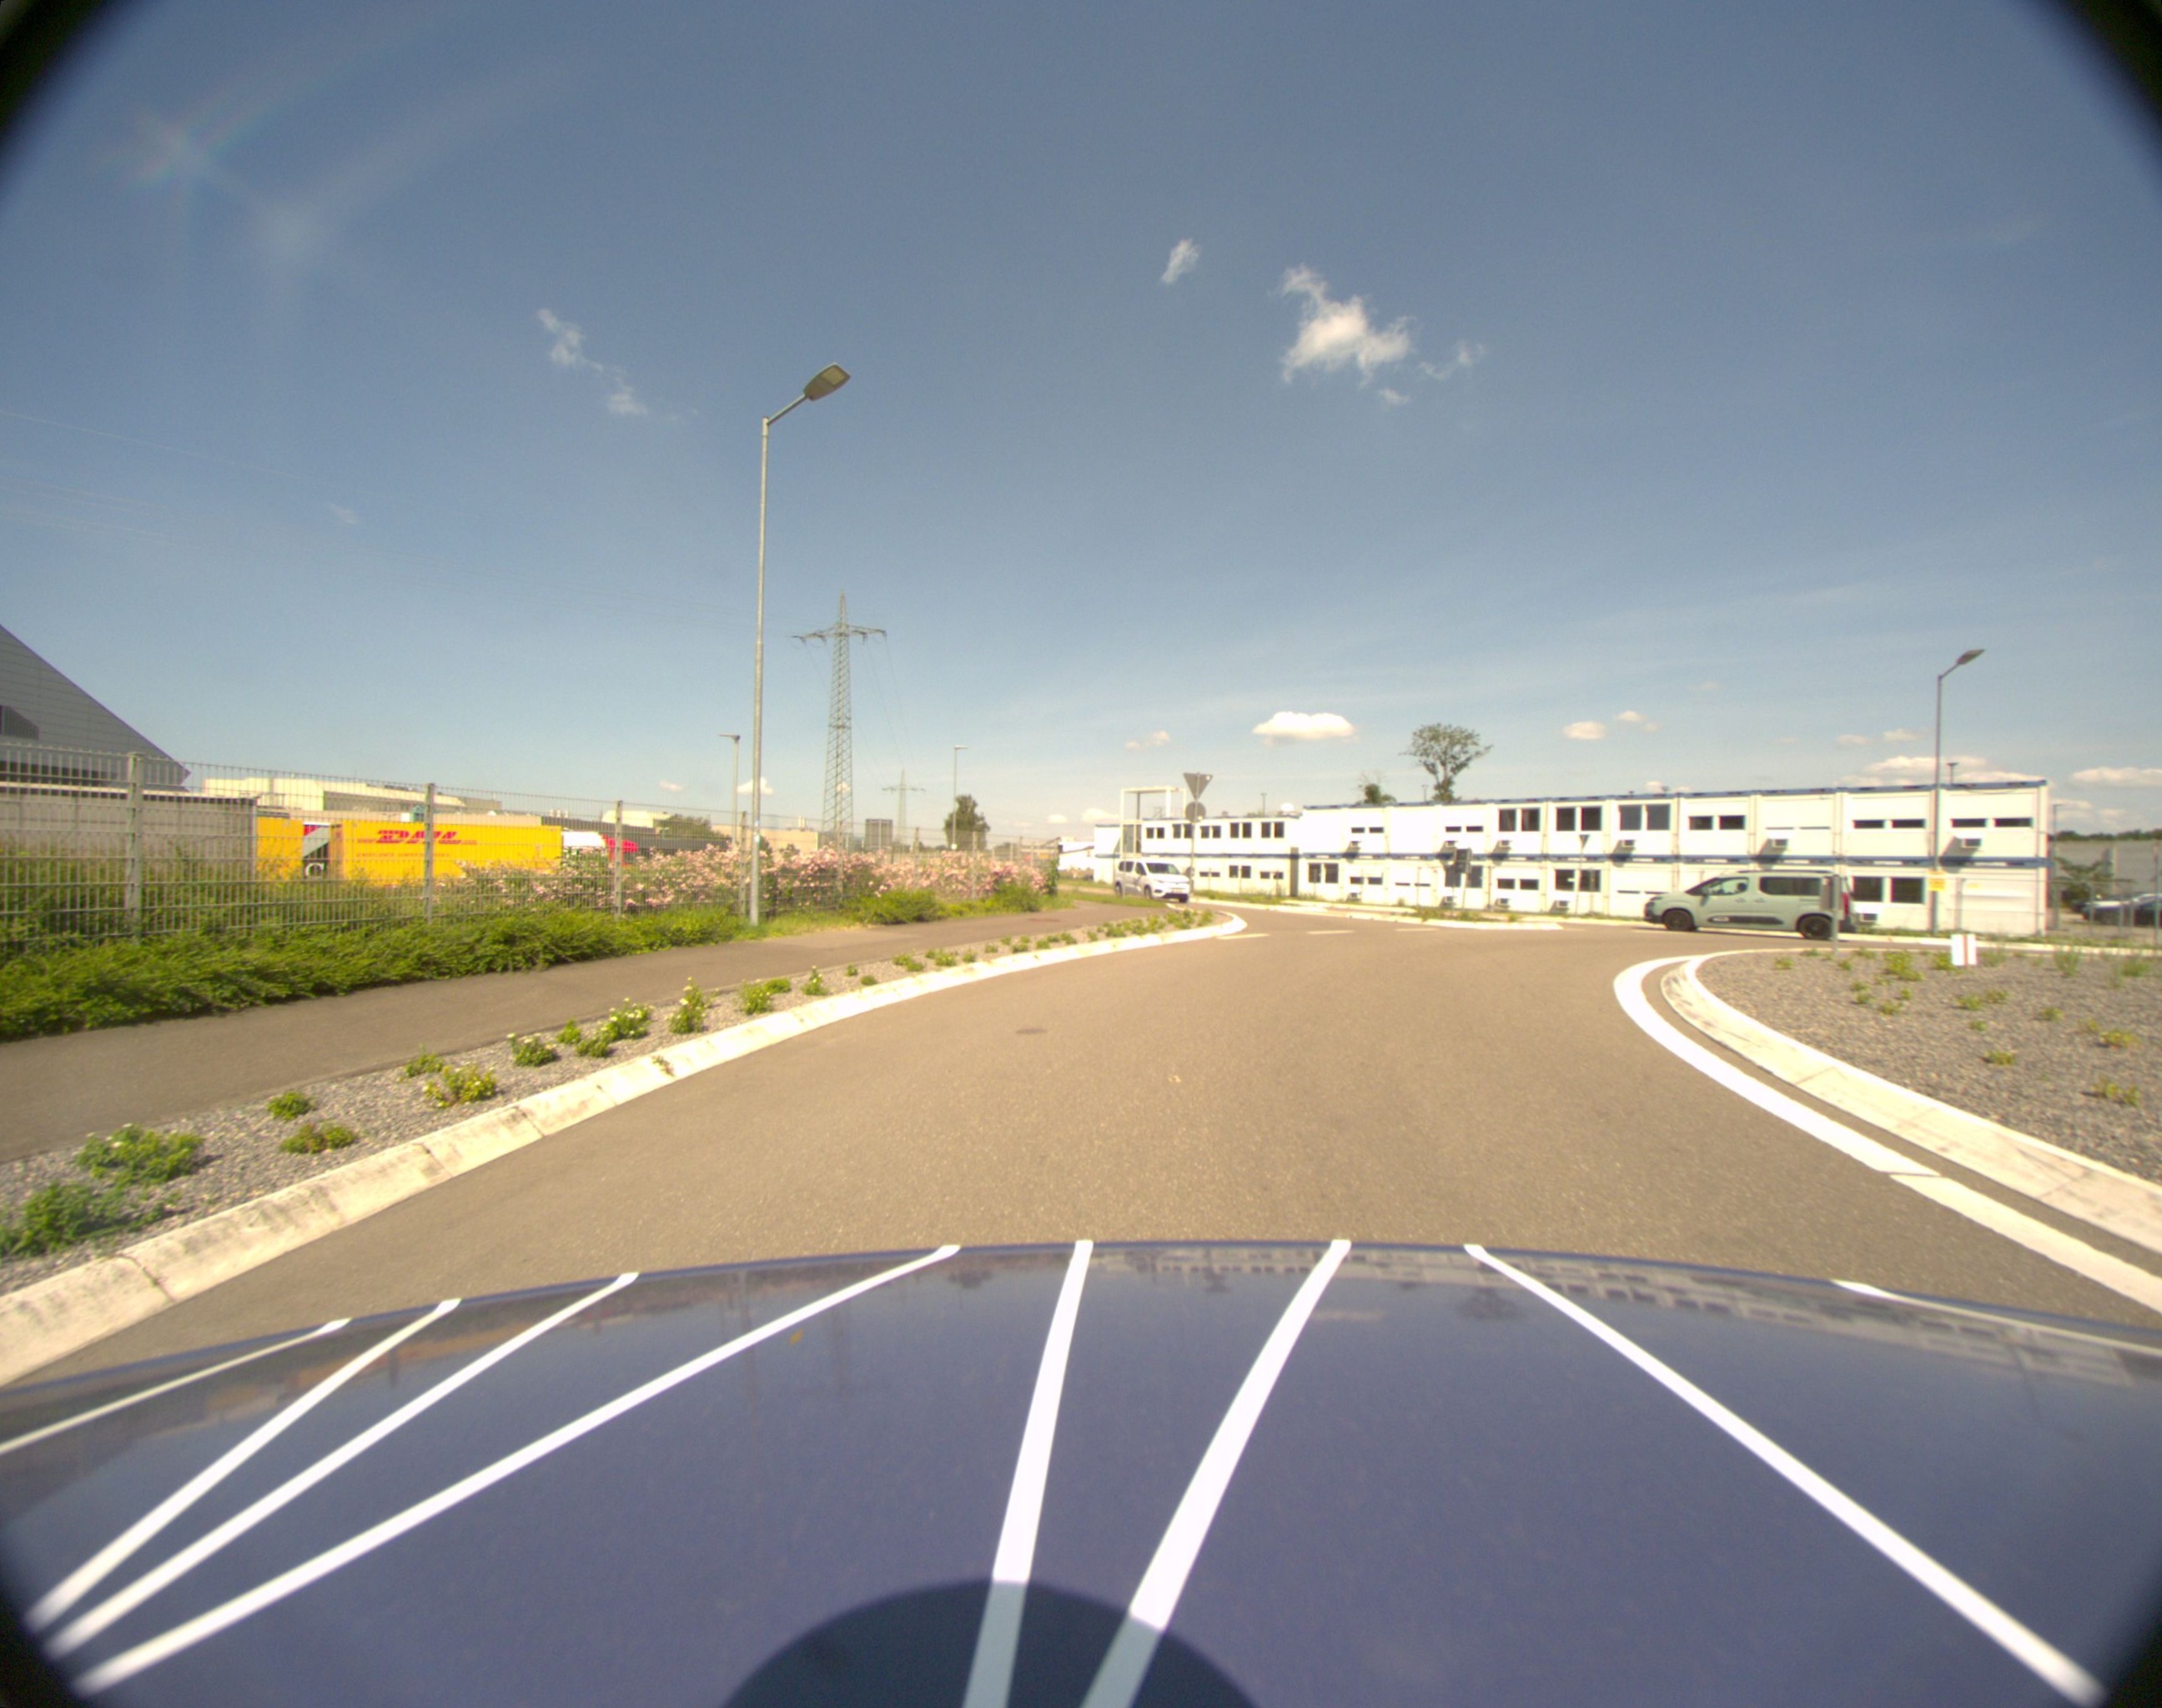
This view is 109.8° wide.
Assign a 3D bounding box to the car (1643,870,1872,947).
[{"bbox_3d":[18.521,1.388,20.956,2.005,1.768,4.547,2,-1,-44],"label":"car"}]

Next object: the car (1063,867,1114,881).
[{"bbox_3d":[0.777,2.059,78.543,4.994,1.408,1.995,2,-1,-30],"label":"car"}]

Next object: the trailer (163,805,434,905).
[{"bbox_3d":[-37.471,0.129,36.813,3.019,4.270,8.736,3,0,38],"label":"trailer"}]

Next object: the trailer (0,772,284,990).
[{"bbox_3d":[-24.840,0.421,13.701,2.757,4.411,14.097,3,0,37],"label":"trailer"}]

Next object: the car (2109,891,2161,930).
[{"bbox_3d":[55.129,2.890,37.993,2.004,1.855,4.302,1,0,-34],"label":"car"}]

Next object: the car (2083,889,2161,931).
[{"bbox_3d":[51.597,2.722,36.345,2.004,1.855,4.302,1,0,-34],"label":"car"}]

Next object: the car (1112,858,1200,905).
[{"bbox_3d":[3.124,1.117,32.659,1.840,1.796,4.821,1,0,-20],"label":"car"}]

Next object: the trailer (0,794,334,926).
[{"bbox_3d":[-34.134,0.237,28.105,2.893,4.270,8.736,3,0,34],"label":"trailer"}]

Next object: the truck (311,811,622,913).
[{"bbox_3d":[-28.443,0.460,36.049,2.814,4.148,11.000,3,0,38],"label":"truck"}]

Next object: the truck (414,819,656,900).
[{"bbox_3d":[-31.537,0.405,44.652,3.019,4.231,11.000,3,0,37],"label":"truck"}]
